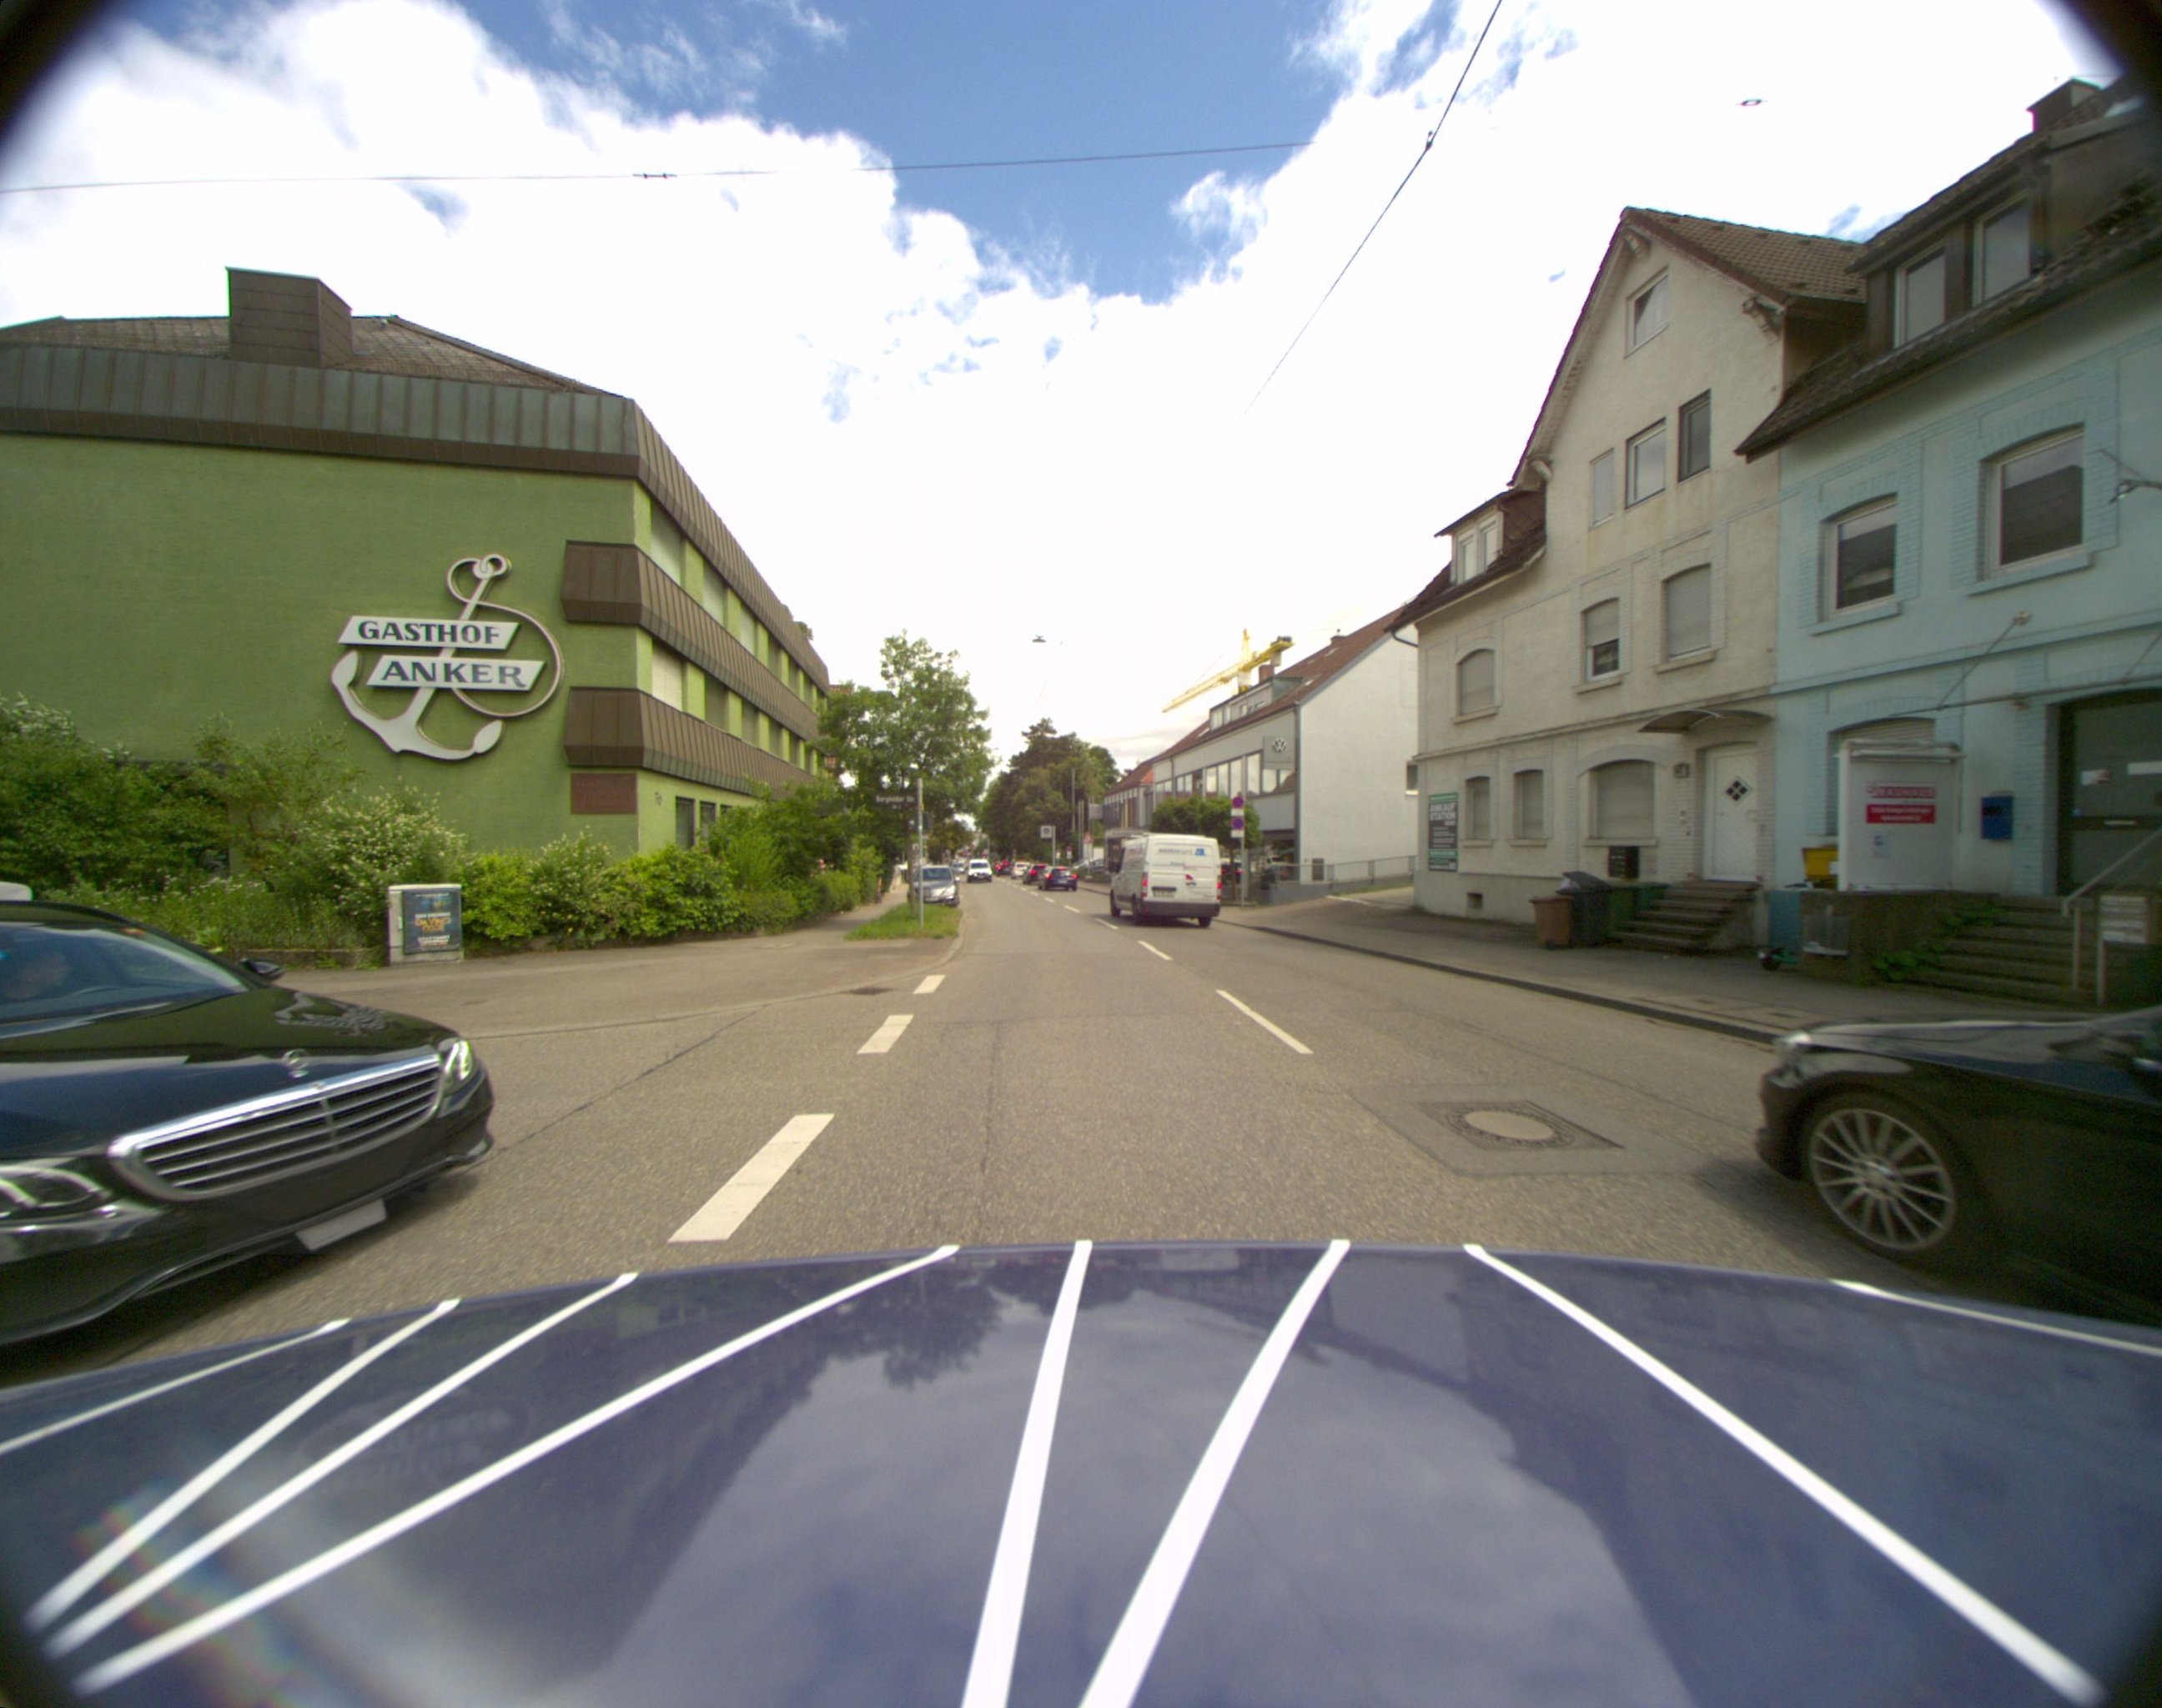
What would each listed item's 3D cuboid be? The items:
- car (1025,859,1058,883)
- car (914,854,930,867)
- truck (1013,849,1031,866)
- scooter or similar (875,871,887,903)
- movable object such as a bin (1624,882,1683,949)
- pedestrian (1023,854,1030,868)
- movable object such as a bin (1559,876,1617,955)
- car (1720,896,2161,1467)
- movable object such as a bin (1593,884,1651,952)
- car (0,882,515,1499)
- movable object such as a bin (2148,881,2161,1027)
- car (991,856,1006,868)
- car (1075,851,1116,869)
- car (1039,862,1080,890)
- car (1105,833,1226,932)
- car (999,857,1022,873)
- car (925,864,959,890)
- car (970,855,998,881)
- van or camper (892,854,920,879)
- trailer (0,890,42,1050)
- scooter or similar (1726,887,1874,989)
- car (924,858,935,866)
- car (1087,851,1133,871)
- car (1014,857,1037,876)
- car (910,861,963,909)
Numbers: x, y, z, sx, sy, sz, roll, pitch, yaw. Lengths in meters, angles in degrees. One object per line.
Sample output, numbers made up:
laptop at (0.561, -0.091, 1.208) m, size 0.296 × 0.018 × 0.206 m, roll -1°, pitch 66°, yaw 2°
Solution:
car at (-2.855, 1.173, 53.490) m, size 1.782 × 1.514 × 4.457 m, roll 0°, pitch 1°, yaw -10°
car at (-22.233, 0.918, 106.393) m, size 1.620 × 1.586 × 4.157 m, roll 5°, pitch 0°, yaw -6°
truck at (-8.864, 0.507, 113.771) m, size 2.313 × 2.406 × 6.088 m, roll -2°, pitch 1°, yaw -8°
scooter or similar at (-8.413, 1.371, 31.925) m, size 0.302 × 1.297 × 1.403 m, roll 2°, pitch -1°, yaw -9°
movable object such as a bin at (9.941, 1.054, 13.200) m, size 0.566 × 1.095 × 0.562 m, roll -3°, pitch 2°, yaw -13°
pedestrian at (-6.509, 0.832, 91.255) m, size 0.685 × 1.727 × 0.867 m, roll -2°, pitch 1°, yaw -10°
movable object such as a bin at (8.627, 1.031, 12.943) m, size 0.566 × 1.265 × 0.562 m, roll -3°, pitch 1°, yaw -13°
car at (3.817, 0.977, 1.407) m, size 1.691 × 1.473 × 4.226 m, roll 3°, pitch 0°, yaw 1°
movable object such as a bin at (9.347, 1.085, 13.136) m, size 0.566 × 1.095 × 0.562 m, roll -3°, pitch 2°, yaw -13°
car at (-5.145, 1.026, 3.167) m, size 4.678 × 1.619 × 1.812 m, roll -2°, pitch 1°, yaw 13°
movable object such as a bin at (10.614, 0.925, 6.598) m, size 1.023 × 1.347 × 1.246 m, roll -2°, pitch 1°, yaw -11°
car at (-11.321, 1.104, 104.080) m, size 1.872 × 1.608 × 4.531 m, roll 0°, pitch -1°, yaw -9°
car at (1.414, 0.594, 75.636) m, size 3.752 × 1.551 × 1.533 m, roll -3°, pitch 0°, yaw -11°
car at (-1.251, 1.197, 42.781) m, size 1.776 × 1.417 × 4.105 m, roll 1°, pitch 0°, yaw -9°
car at (2.144, 0.720, 20.973) m, size 2.070 × 2.339 × 5.179 m, roll 2°, pitch -1°, yaw -7°
car at (-7.351, 1.112, 78.593) m, size 1.838 × 1.514 × 4.165 m, roll 0°, pitch 1°, yaw -13°
car at (-8.684, 1.400, 47.764) m, size 1.991 × 1.440 × 4.747 m, roll 0°, pitch 1°, yaw -9°
car at (-7.742, 1.078, 60.481) m, size 1.967 × 1.796 × 4.425 m, roll -2°, pitch 1°, yaw -9°
van or camper at (-15.485, 1.097, 67.453) m, size 1.872 × 2.020 × 4.544 m, roll -2°, pitch 1°, yaw -6°
trailer at (-12.387, 1.138, 7.276) m, size 3.165 × 1.572 × 1.394 m, roll 1°, pitch 0°, yaw 4°
scooter or similar at (9.233, 1.050, 9.773) m, size 1.558 × 1.177 × 0.545 m, roll -2°, pitch 1°, yaw -9°
car at (-25.983, 1.330, 130.424) m, size 1.791 × 1.309 × 4.476 m, roll 0°, pitch 0°, yaw -12°
car at (2.749, 0.671, 72.695) m, size 4.026 × 1.621 × 1.652 m, roll -3°, pitch 0°, yaw -11°
car at (-5.055, 1.117, 68.493) m, size 1.695 × 1.570 × 3.796 m, roll 0°, pitch 1°, yaw -10°
car at (-5.413, 1.127, 28.858) m, size 1.695 × 1.656 × 4.460 m, roll 0°, pitch -1°, yaw -7°
